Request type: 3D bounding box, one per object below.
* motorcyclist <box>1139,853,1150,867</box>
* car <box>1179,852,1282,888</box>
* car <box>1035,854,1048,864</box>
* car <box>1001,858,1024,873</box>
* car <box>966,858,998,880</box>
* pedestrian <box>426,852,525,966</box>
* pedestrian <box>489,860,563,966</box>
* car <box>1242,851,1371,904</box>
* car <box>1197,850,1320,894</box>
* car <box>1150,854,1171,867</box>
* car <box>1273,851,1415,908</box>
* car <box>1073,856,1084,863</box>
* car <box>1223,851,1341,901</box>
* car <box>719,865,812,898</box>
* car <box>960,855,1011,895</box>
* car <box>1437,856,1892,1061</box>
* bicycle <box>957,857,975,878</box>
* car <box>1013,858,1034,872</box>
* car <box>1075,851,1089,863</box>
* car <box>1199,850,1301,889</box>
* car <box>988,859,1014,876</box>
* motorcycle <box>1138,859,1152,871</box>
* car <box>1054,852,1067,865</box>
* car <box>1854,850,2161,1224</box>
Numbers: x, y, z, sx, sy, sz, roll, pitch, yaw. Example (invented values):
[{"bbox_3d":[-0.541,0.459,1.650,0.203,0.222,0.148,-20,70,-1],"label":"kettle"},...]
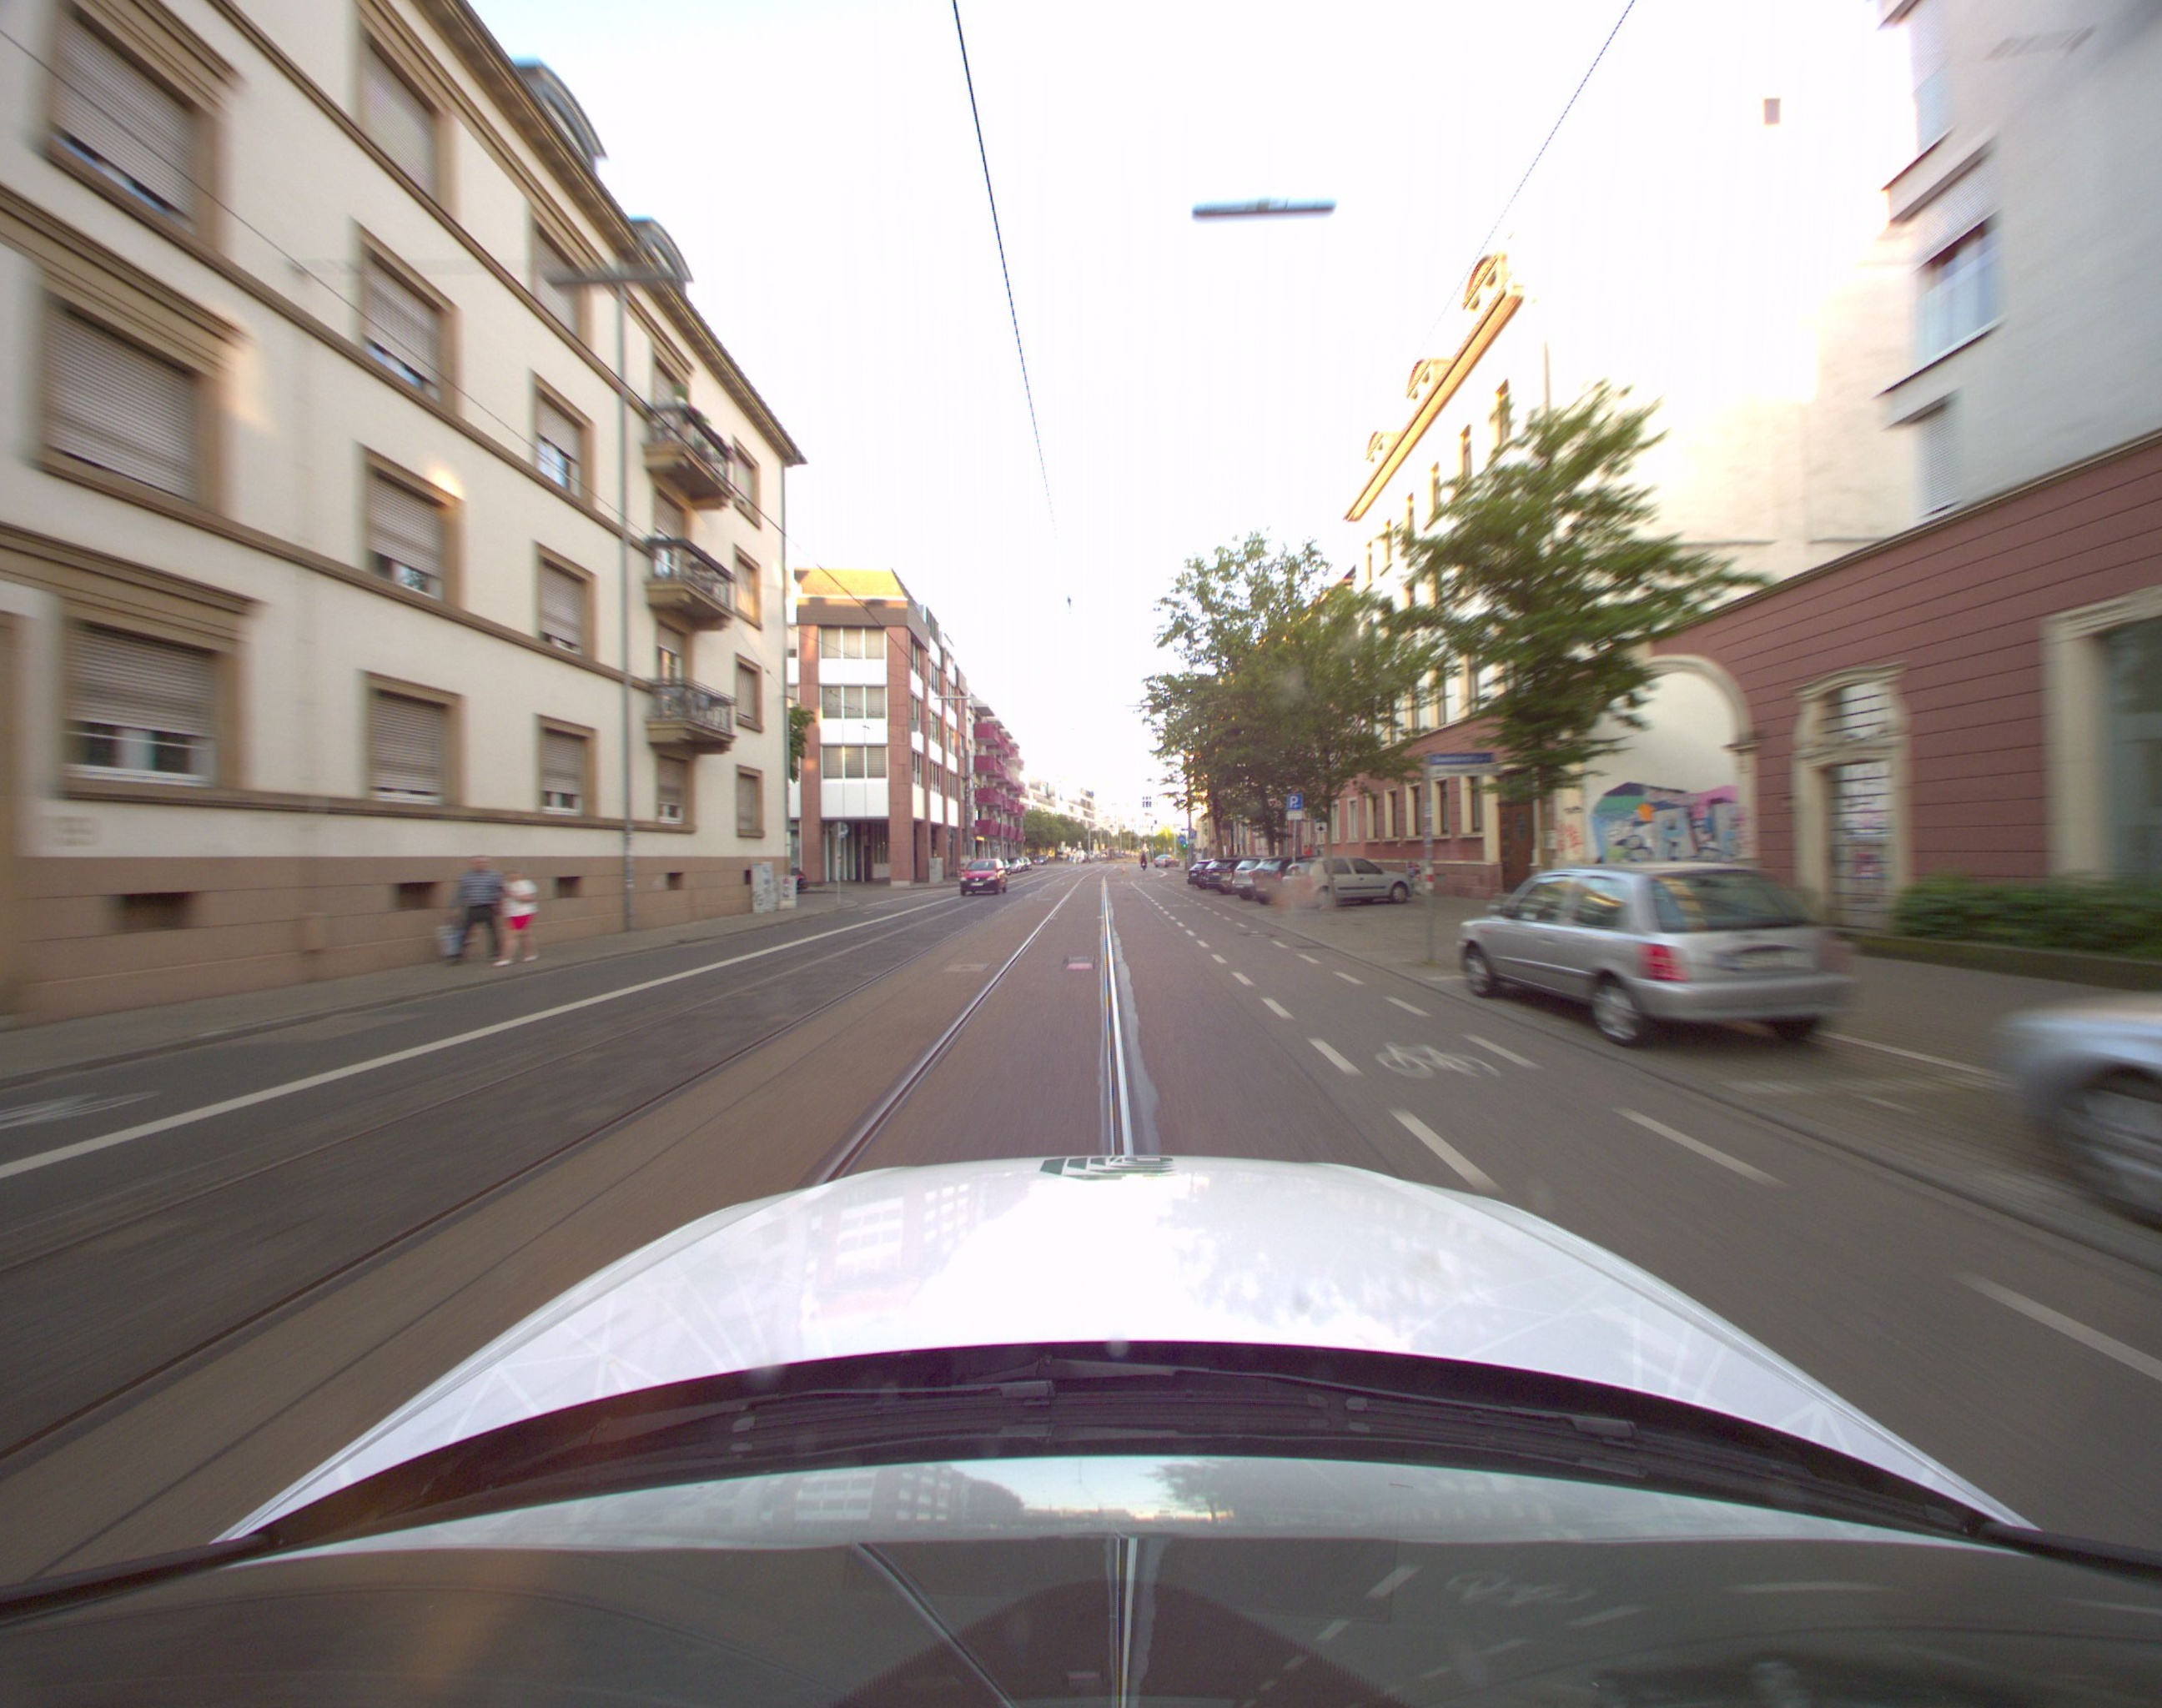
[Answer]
[{"bbox_3d":[6.556,0.598,83.856,0.828,1.473,1.203,-1,0,-9],"label":"motorcyclist"},{"bbox_3d":[7.158,0.739,38.899,4.625,1.457,1.697,-3,0,-24],"label":"car"},{"bbox_3d":[-7.502,0.953,154.883,1.672,1.700,4.251,-1,0,10],"label":"car"},{"bbox_3d":[-6.890,1.151,82.315,1.684,1.414,4.681,1,0,4],"label":"car"},{"bbox_3d":[-7.546,1.127,62.405,1.710,1.555,4.206,0,0,2],"label":"car"},{"bbox_3d":[-9.451,0.827,12.753,0.793,1.701,0.981,-1,0,-1],"label":"pedestrian"},{"bbox_3d":[-8.744,0.908,12.858,0.589,1.609,0.811,-1,0,-1],"label":"pedestrian"},{"bbox_3d":[6.948,0.689,25.075,3.572,1.429,1.656,-2,0,-24],"label":"car"},{"bbox_3d":[7.178,0.712,32.933,4.462,1.516,2.048,-2,0,-22],"label":"car"},{"bbox_3d":[9.552,0.775,97.497,1.704,1.555,4.222,0,0,16],"label":"car"},{"bbox_3d":[7.399,0.703,22.955,3.492,1.429,1.610,-2,-2,-18],"label":"car"},{"bbox_3d":[-0.454,1.129,164.698,1.673,1.439,4.136,-1,0,9],"label":"car"},{"bbox_3d":[6.848,0.718,27.752,3.572,1.516,1.730,-2,0,-24],"label":"car"},{"bbox_3d":[-15.938,1.407,41.363,3.982,1.505,1.919,-2,-2,-6],"label":"car"},{"bbox_3d":[-4.092,0.878,35.441,1.553,1.558,3.757,-3,0,2],"label":"car"},{"bbox_3d":[5.000,0.751,7.720,1.613,1.381,3.777,-3,0,1],"label":"car"},{"bbox_3d":[-8.113,0.937,57.419,0.605,1.377,2.264,-1,0,9],"label":"bicycle"},{"bbox_3d":[-6.644,1.253,93.931,1.844,1.457,5.088,-1,0,2],"label":"car"},{"bbox_3d":[0.186,0.646,170.599,2.449,2.482,5.816,-1,0,5],"label":"car"},{"bbox_3d":[7.375,0.671,35.640,4.005,1.492,1.816,-3,-1,-24],"label":"car"},{"bbox_3d":[-7.260,1.232,74.530,1.987,1.479,4.480,1,0,-1],"label":"car"},{"bbox_3d":[6.606,1.097,83.623,0.828,1.240,2.483,-1,0,-9],"label":"motorcycle"},{"bbox_3d":[-5.228,1.070,207.220,2.188,3.152,6.159,-1,0,9],"label":"car"},{"bbox_3d":[4.985,0.704,2.050,1.773,1.381,4.695,-3,0,4],"label":"car"}]
